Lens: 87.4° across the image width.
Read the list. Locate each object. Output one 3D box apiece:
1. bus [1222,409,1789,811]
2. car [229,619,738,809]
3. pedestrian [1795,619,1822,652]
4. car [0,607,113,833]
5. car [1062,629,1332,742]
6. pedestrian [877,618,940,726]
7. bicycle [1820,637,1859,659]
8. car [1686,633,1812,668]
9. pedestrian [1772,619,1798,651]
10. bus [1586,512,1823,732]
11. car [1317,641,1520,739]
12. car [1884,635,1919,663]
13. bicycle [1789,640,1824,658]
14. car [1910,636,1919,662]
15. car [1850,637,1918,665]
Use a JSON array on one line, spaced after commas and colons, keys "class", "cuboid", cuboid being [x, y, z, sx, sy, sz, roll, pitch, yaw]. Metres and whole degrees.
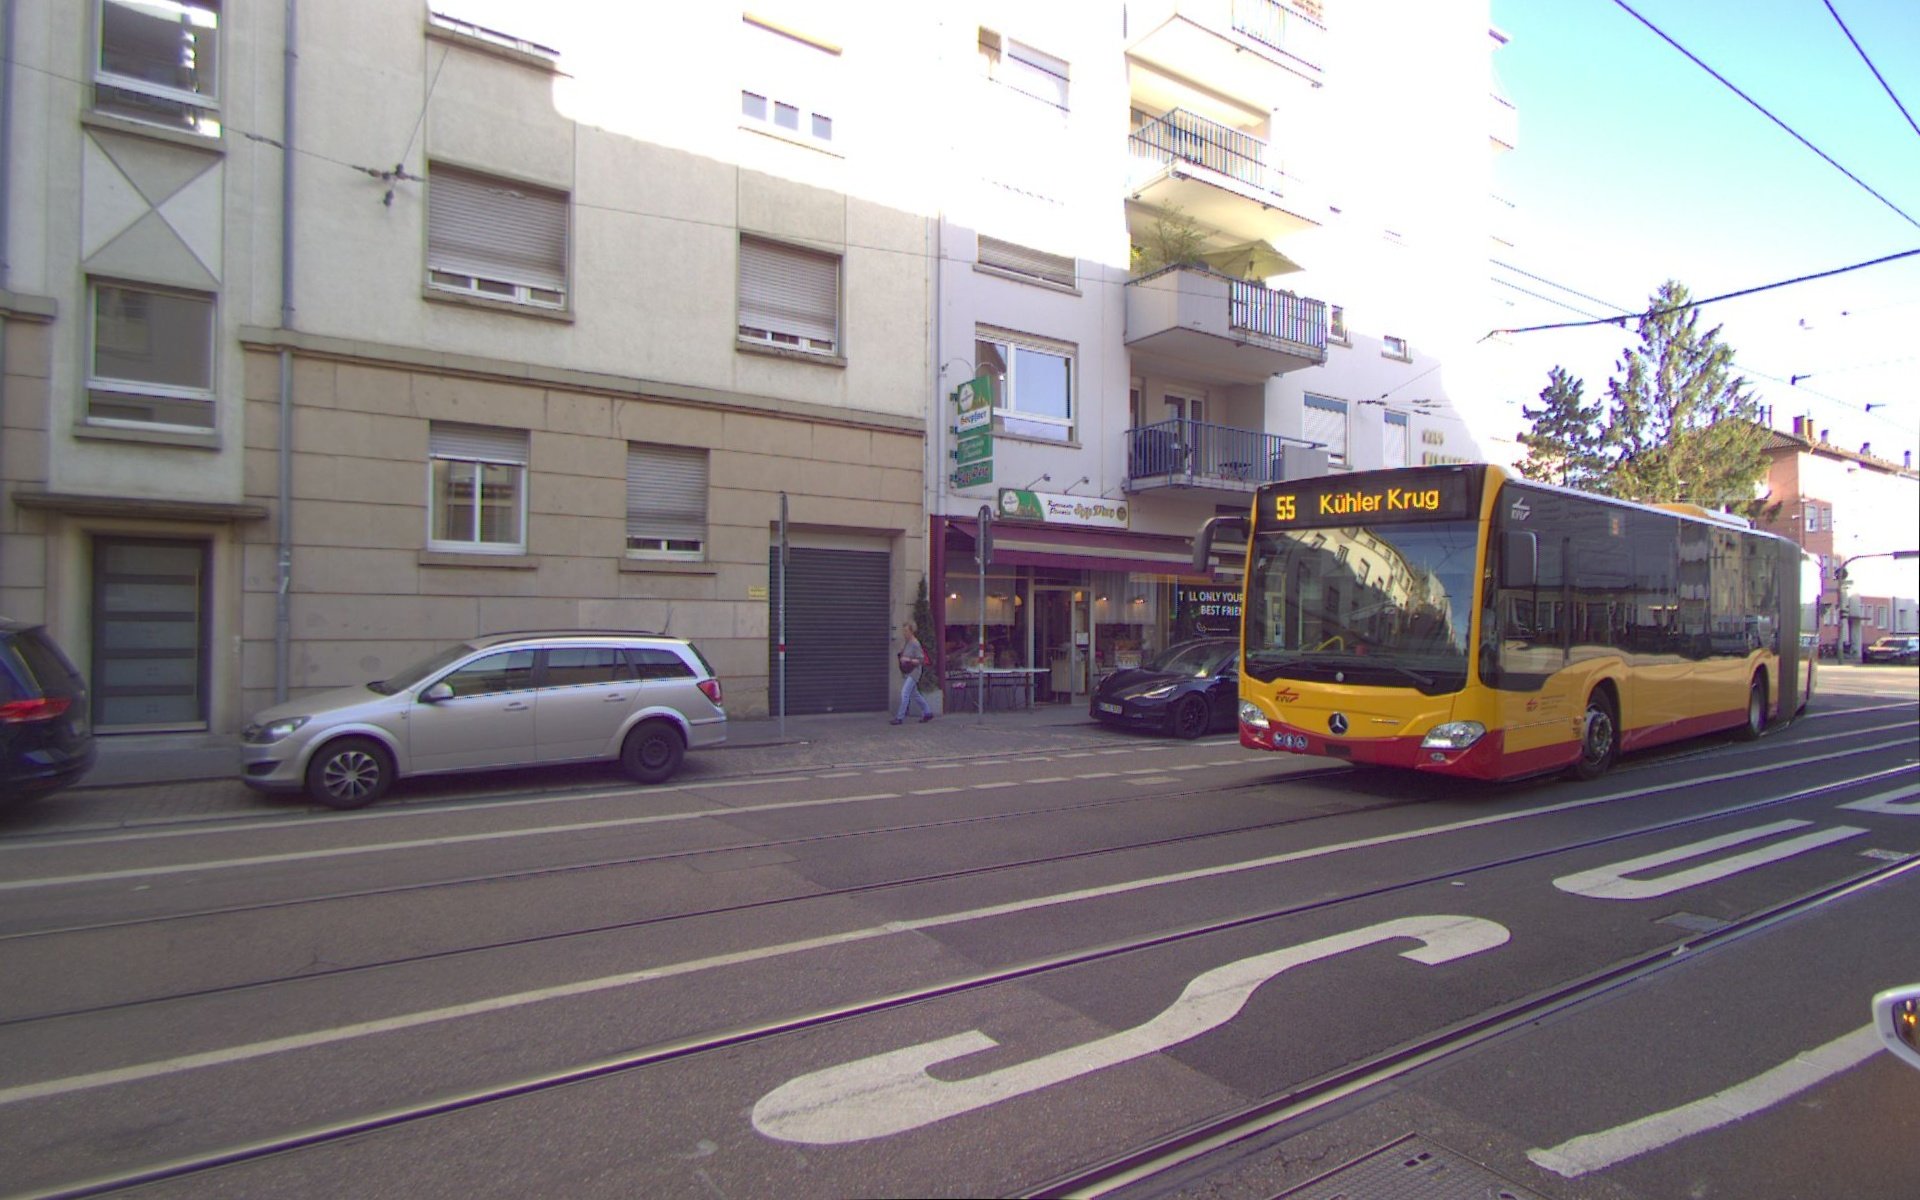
[{"class": "bus", "cuboid": [7.337, 0.210, 12.351, 10.114, 3.200, 2.699, 2, -2, -41]}, {"class": "car", "cuboid": [-4.641, 1.014, 10.178, 4.340, 1.529, 1.689, 2, -1, -34]}, {"class": "pedestrian", "cuboid": [44.261, 1.847, 52.417, 0.728, 1.713, 0.841, 1, -1, -27]}, {"class": "car", "cuboid": [-8.930, 0.842, 7.154, 4.200, 1.637, 1.689, 2, -1, -34]}, {"class": "car", "cuboid": [3.819, 1.279, 15.937, 4.266, 1.529, 1.689, 2, -1, -33]}, {"class": "pedestrian", "cuboid": [-0.778, 1.062, 15.128, 0.713, 1.569, 0.694, 0, -1, -30]}, {"class": "bicycle", "cuboid": [52.054, 2.844, 59.420, 3.267, 1.241, 0.844, 1, -2, -32]}, {"class": "car", "cuboid": [37.280, 2.368, 47.554, 4.311, 1.594, 1.857, 0, -2, 9]}, {"class": "pedestrian", "cuboid": [43.562, 1.848, 53.032, 0.728, 1.713, 0.841, 1, -1, -27]}, {"class": "bus", "cuboid": [13.810, 0.435, 18.343, 2.708, 3.203, 7.536, -1, -2, 42]}, {"class": "car", "cuboid": [8.616, 1.594, 18.769, 3.961, 1.530, 1.732, 1, 0, -36]}, {"class": "car", "cuboid": [54.248, 2.763, 56.924, 3.959, 1.517, 1.899, 1, -2, -34]}, {"class": "bicycle", "cuboid": [47.070, 2.724, 55.840, 2.568, 0.964, 0.729, 1, -2, -32]}, {"class": "car", "cuboid": [58.077, 2.903, 59.436, 3.959, 1.517, 1.899, 1, -2, -34]}, {"class": "car", "cuboid": [49.511, 2.703, 53.798, 3.961, 1.452, 1.898, 1, -2, -36]}]
